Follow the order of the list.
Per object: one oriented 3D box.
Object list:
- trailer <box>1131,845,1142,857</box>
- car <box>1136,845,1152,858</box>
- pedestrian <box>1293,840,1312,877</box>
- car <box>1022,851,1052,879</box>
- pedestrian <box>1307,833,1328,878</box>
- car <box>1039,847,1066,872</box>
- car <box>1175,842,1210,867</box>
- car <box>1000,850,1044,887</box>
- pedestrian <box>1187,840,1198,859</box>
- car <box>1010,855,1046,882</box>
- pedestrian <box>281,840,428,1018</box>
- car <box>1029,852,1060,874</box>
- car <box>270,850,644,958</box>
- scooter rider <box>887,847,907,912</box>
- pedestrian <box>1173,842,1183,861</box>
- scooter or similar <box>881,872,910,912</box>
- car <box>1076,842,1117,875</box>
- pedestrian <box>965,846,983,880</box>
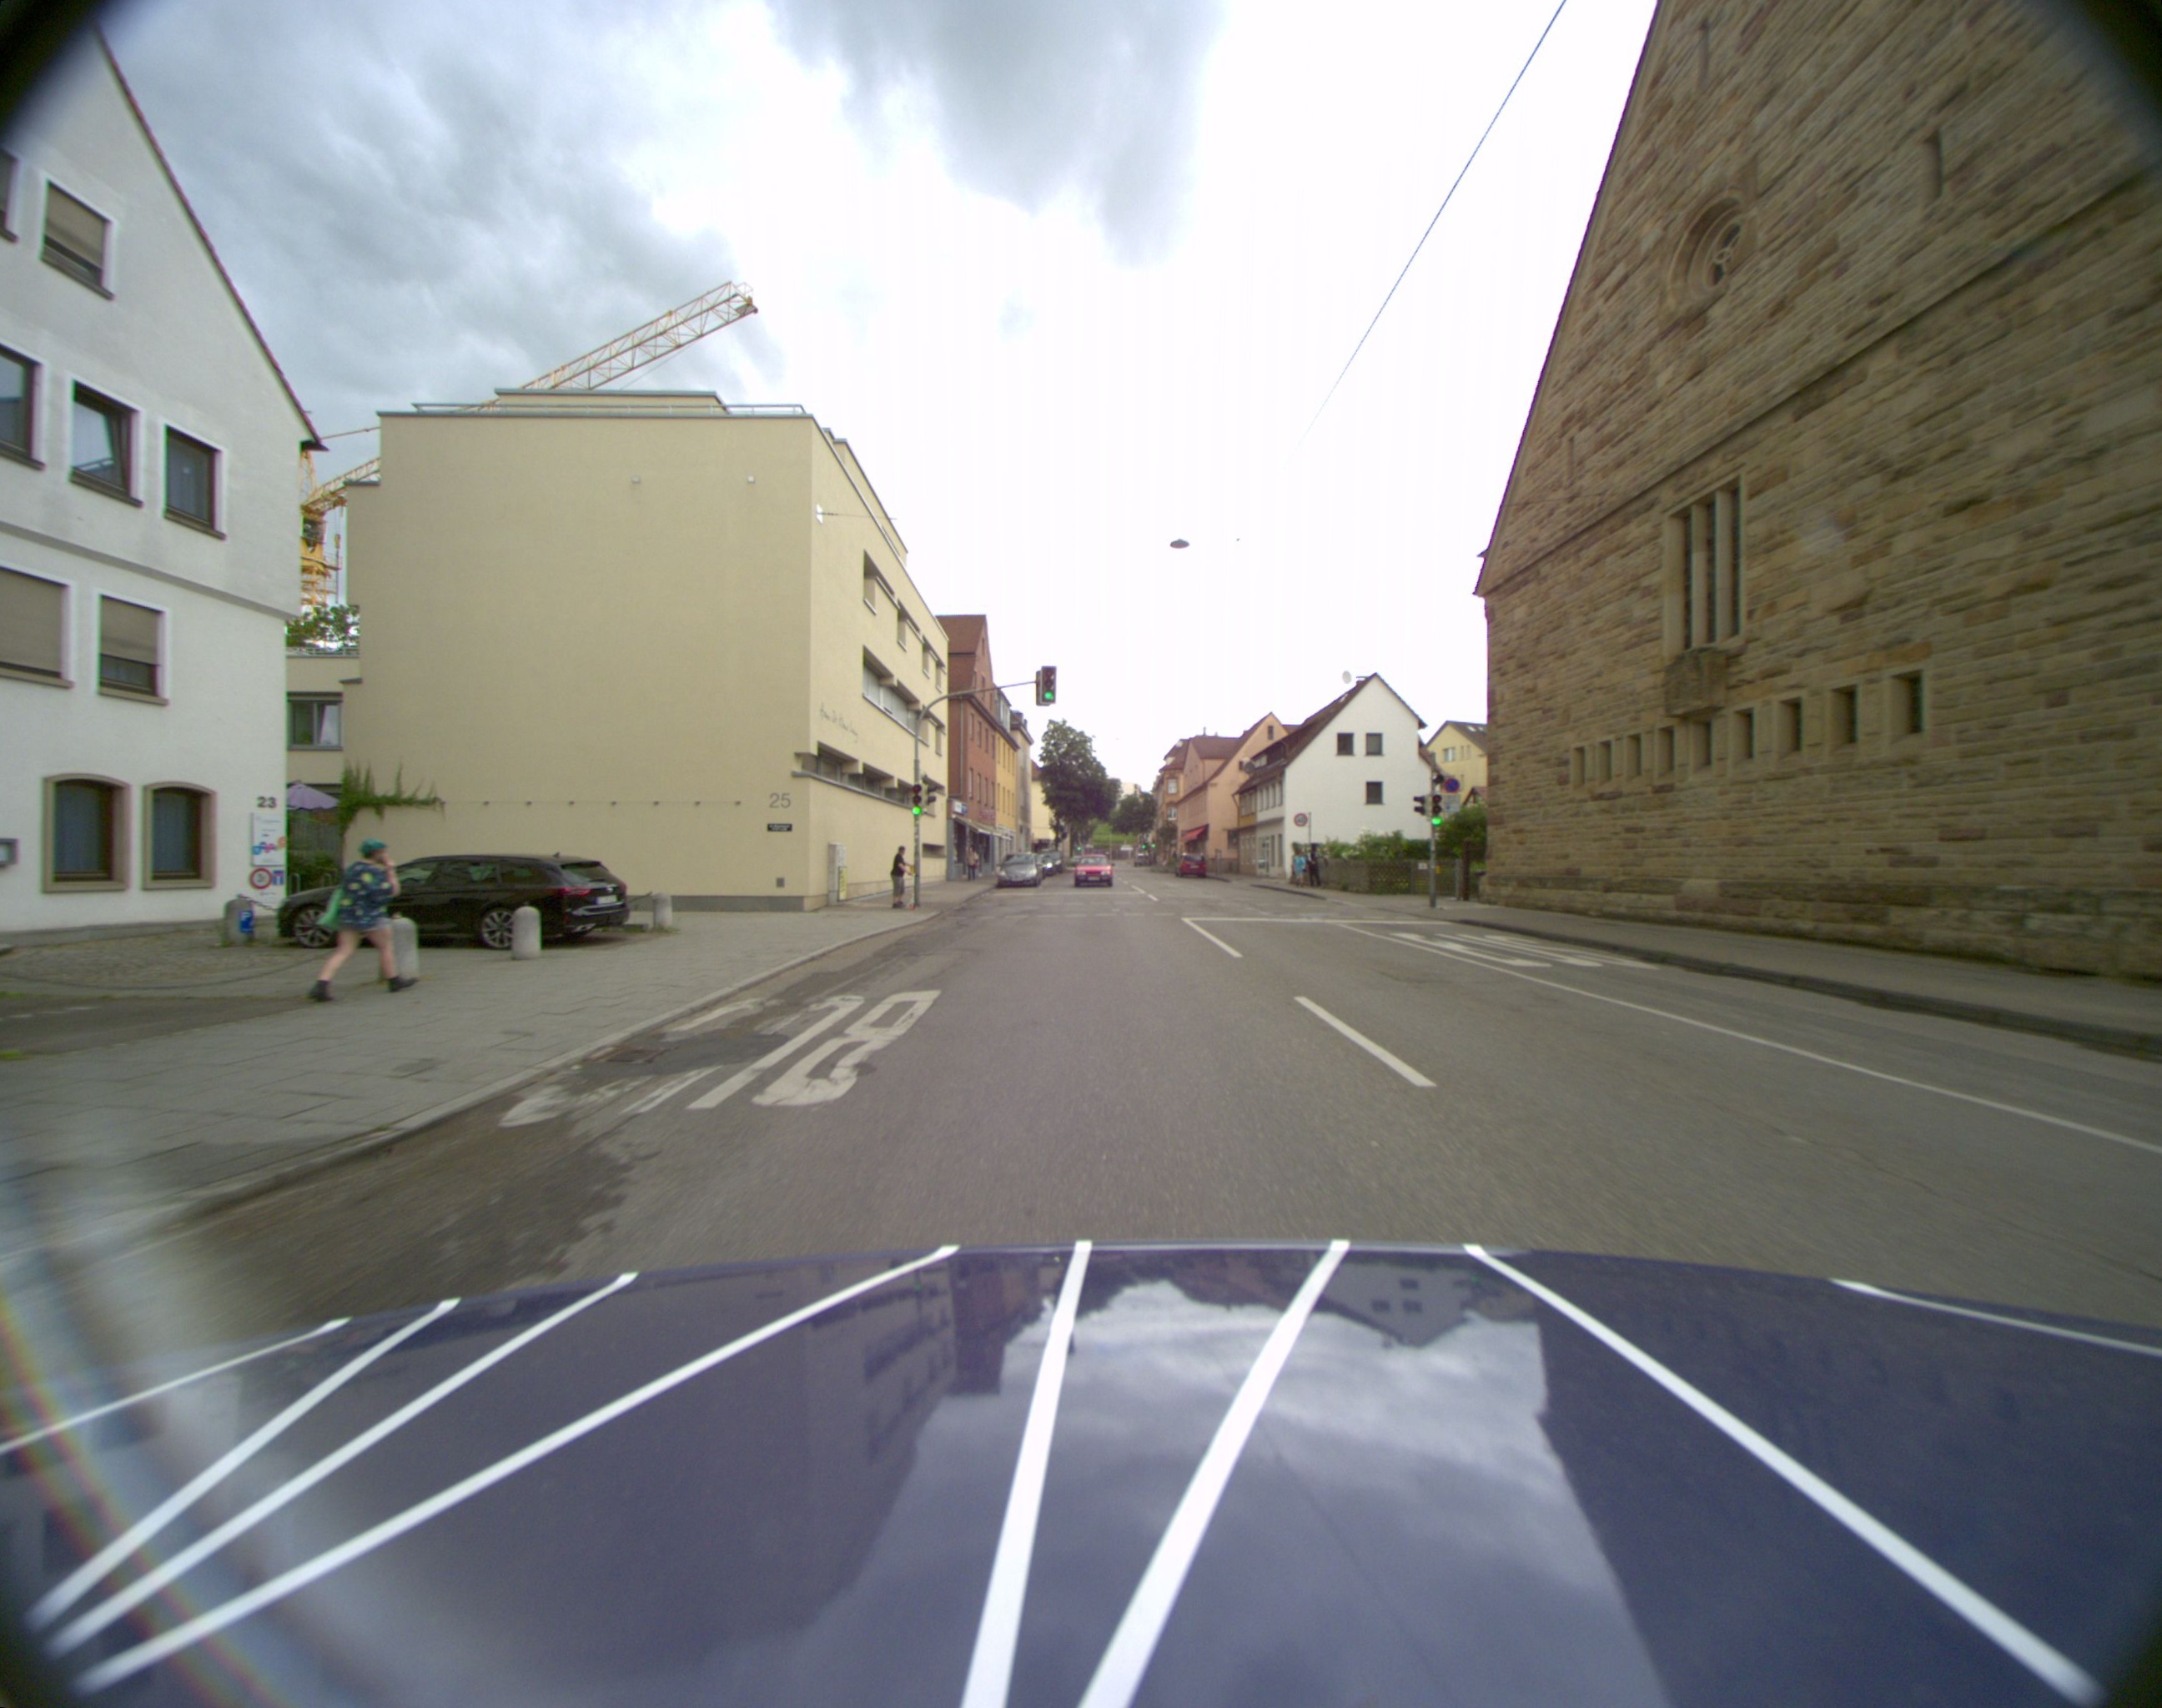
[{"bbox_3d":[12.537,-0.669,172.398,2.450,2.788,6.304,1,0,4],"label":"trailer"},{"bbox_3d":[8.723,-0.325,105.457,1.895,1.702,4.742,2,0,3],"label":"car"},{"bbox_3d":[9.423,0.185,32.382,0.572,1.545,0.697,-2,1,2],"label":"pedestrian"},{"bbox_3d":[-2.616,0.620,45.662,1.606,1.510,4.208,-1,1,-1],"label":"car"},{"bbox_3d":[9.743,0.059,31.340,0.572,1.837,0.697,-3,1,2],"label":"pedestrian"},{"bbox_3d":[-2.089,0.367,56.825,1.824,1.771,4.402,-1,1,0],"label":"car"},{"bbox_3d":[7.526,-0.018,51.582,1.707,1.565,4.450,2,1,1],"label":"car"},{"bbox_3d":[-2.663,0.623,35.113,1.716,1.551,3.785,-1,1,0],"label":"car"},{"bbox_3d":[9.482,-0.388,64.465,0.732,1.619,0.758,-2,2,-2],"label":"pedestrian"},{"bbox_3d":[-2.740,0.720,39.959,1.555,1.325,3.812,-1,1,0],"label":"car"},{"bbox_3d":[-7.350,0.713,7.726,0.603,1.706,0.860,0,1,8],"label":"pedestrian"},{"bbox_3d":[-2.463,0.600,52.092,1.755,1.398,4.511,1,1,2],"label":"car"},{"bbox_3d":[-9.905,0.753,12.339,4.522,1.565,1.852,0,2,1],"label":"car"},{"bbox_3d":[-4.711,0.646,19.458,0.454,1.623,0.504,2,3,-13],"label":"scooter rider"},{"bbox_3d":[8.951,-0.236,70.075,0.740,1.744,0.983,-1,0,2],"label":"pedestrian"},{"bbox_3d":[-4.764,0.963,19.547,0.664,0.940,0.819,2,3,-10],"label":"scooter or similar"},{"bbox_3d":[0.739,0.175,34.066,1.626,1.387,4.001,0,0,4],"label":"car"},{"bbox_3d":[-5.323,0.432,37.869,0.702,1.639,0.888,1,0,1],"label":"pedestrian"}]
